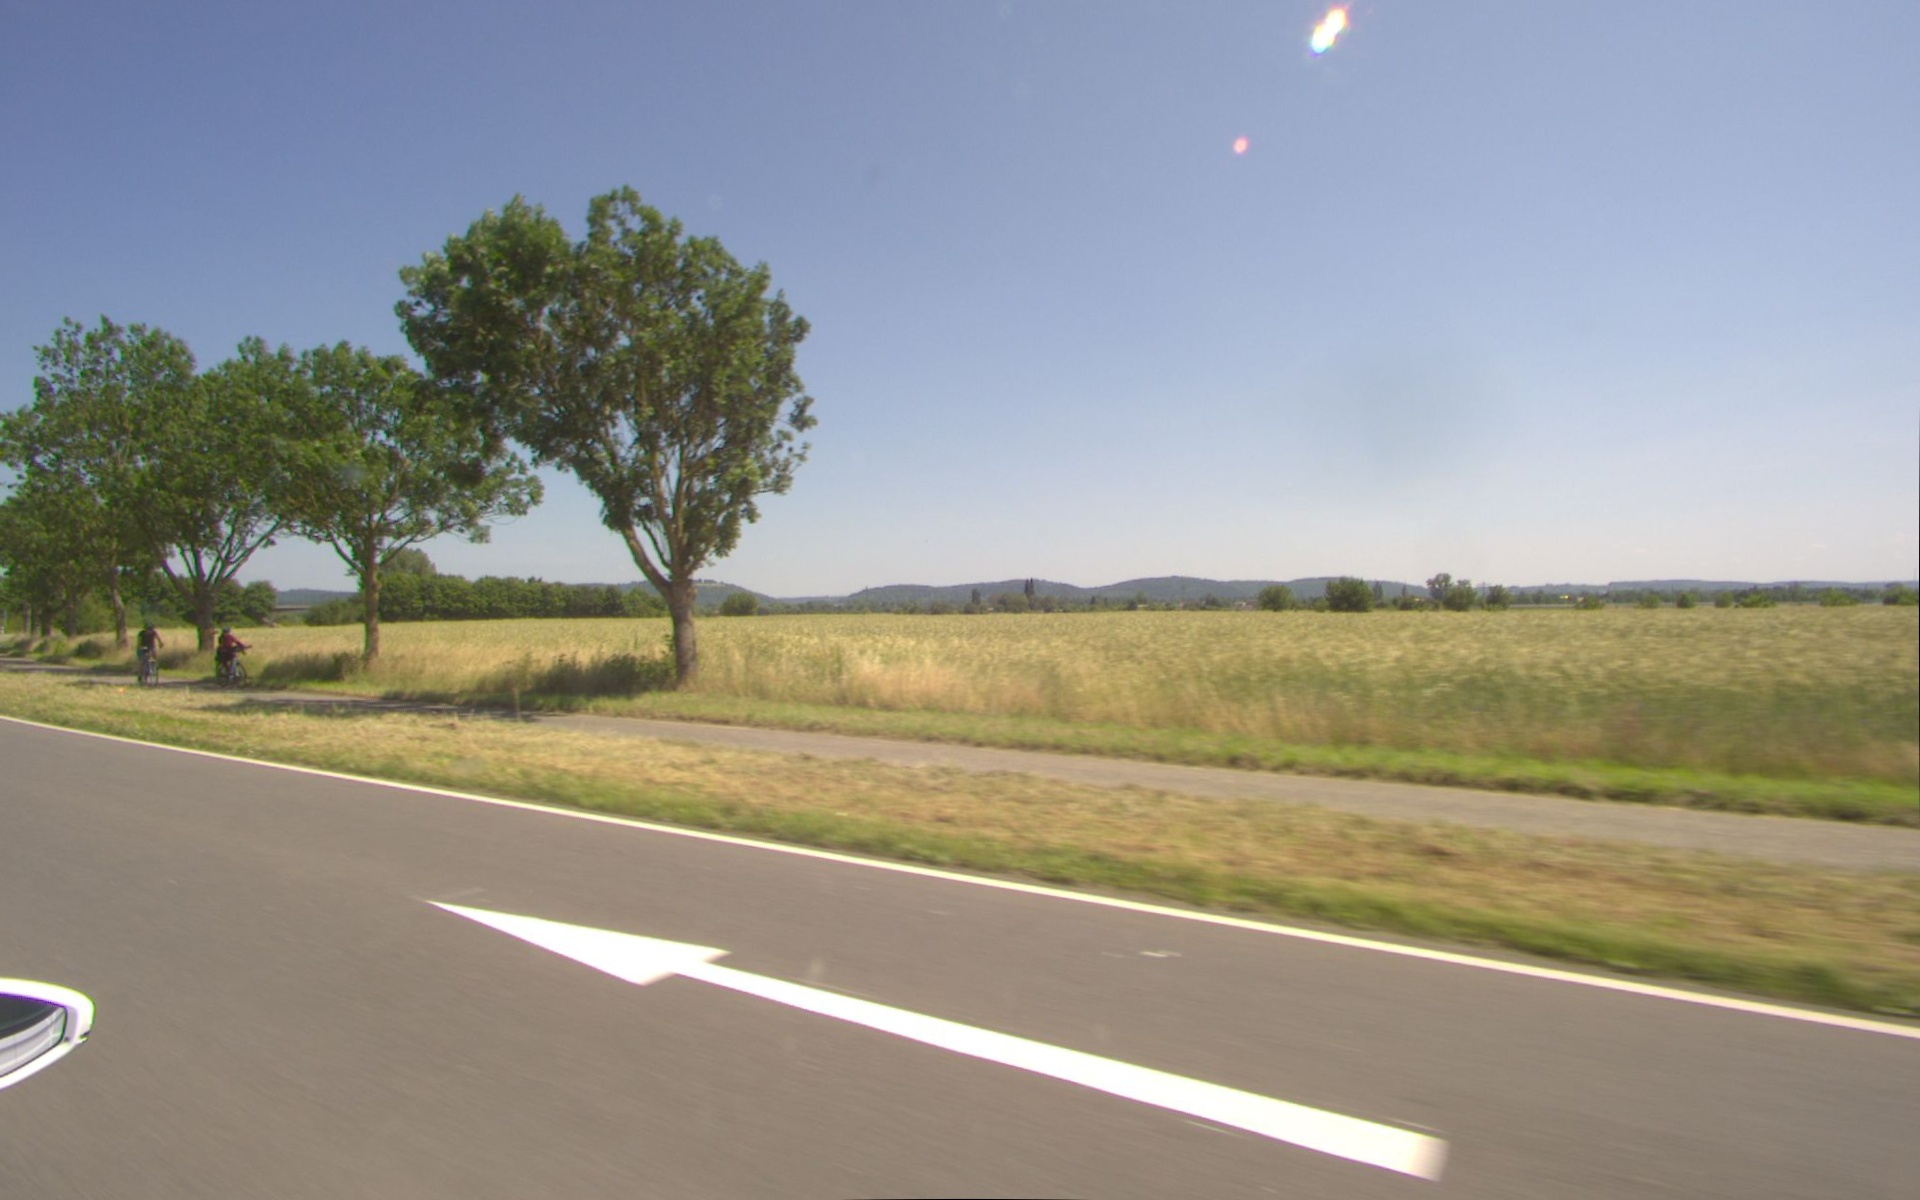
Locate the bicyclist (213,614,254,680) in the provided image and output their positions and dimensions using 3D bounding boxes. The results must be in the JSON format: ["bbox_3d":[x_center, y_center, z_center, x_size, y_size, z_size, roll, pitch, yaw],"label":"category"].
[{"bbox_3d":[-20.600,1.318,28.380,0.966,1.804,0.625,0,-4,41],"label":"bicyclist"}]

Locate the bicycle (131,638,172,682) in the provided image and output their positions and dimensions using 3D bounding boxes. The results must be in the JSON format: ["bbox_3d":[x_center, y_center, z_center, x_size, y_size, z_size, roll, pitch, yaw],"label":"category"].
[{"bbox_3d":[-22.852,1.676,28.294,2.030,1.191,0.602,-2,-5,45],"label":"bicycle"}]

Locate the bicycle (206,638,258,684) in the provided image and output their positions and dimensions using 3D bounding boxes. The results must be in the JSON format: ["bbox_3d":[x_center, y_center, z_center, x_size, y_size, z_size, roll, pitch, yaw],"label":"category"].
[{"bbox_3d":[-20.636,1.716,28.375,2.027,1.225,0.696,-1,-3,40],"label":"bicycle"}]

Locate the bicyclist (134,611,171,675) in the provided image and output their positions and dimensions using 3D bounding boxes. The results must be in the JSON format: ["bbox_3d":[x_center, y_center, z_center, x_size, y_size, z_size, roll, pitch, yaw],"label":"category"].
[{"bbox_3d":[-22.907,1.210,28.398,1.160,1.755,0.584,0,-4,45],"label":"bicyclist"}]
